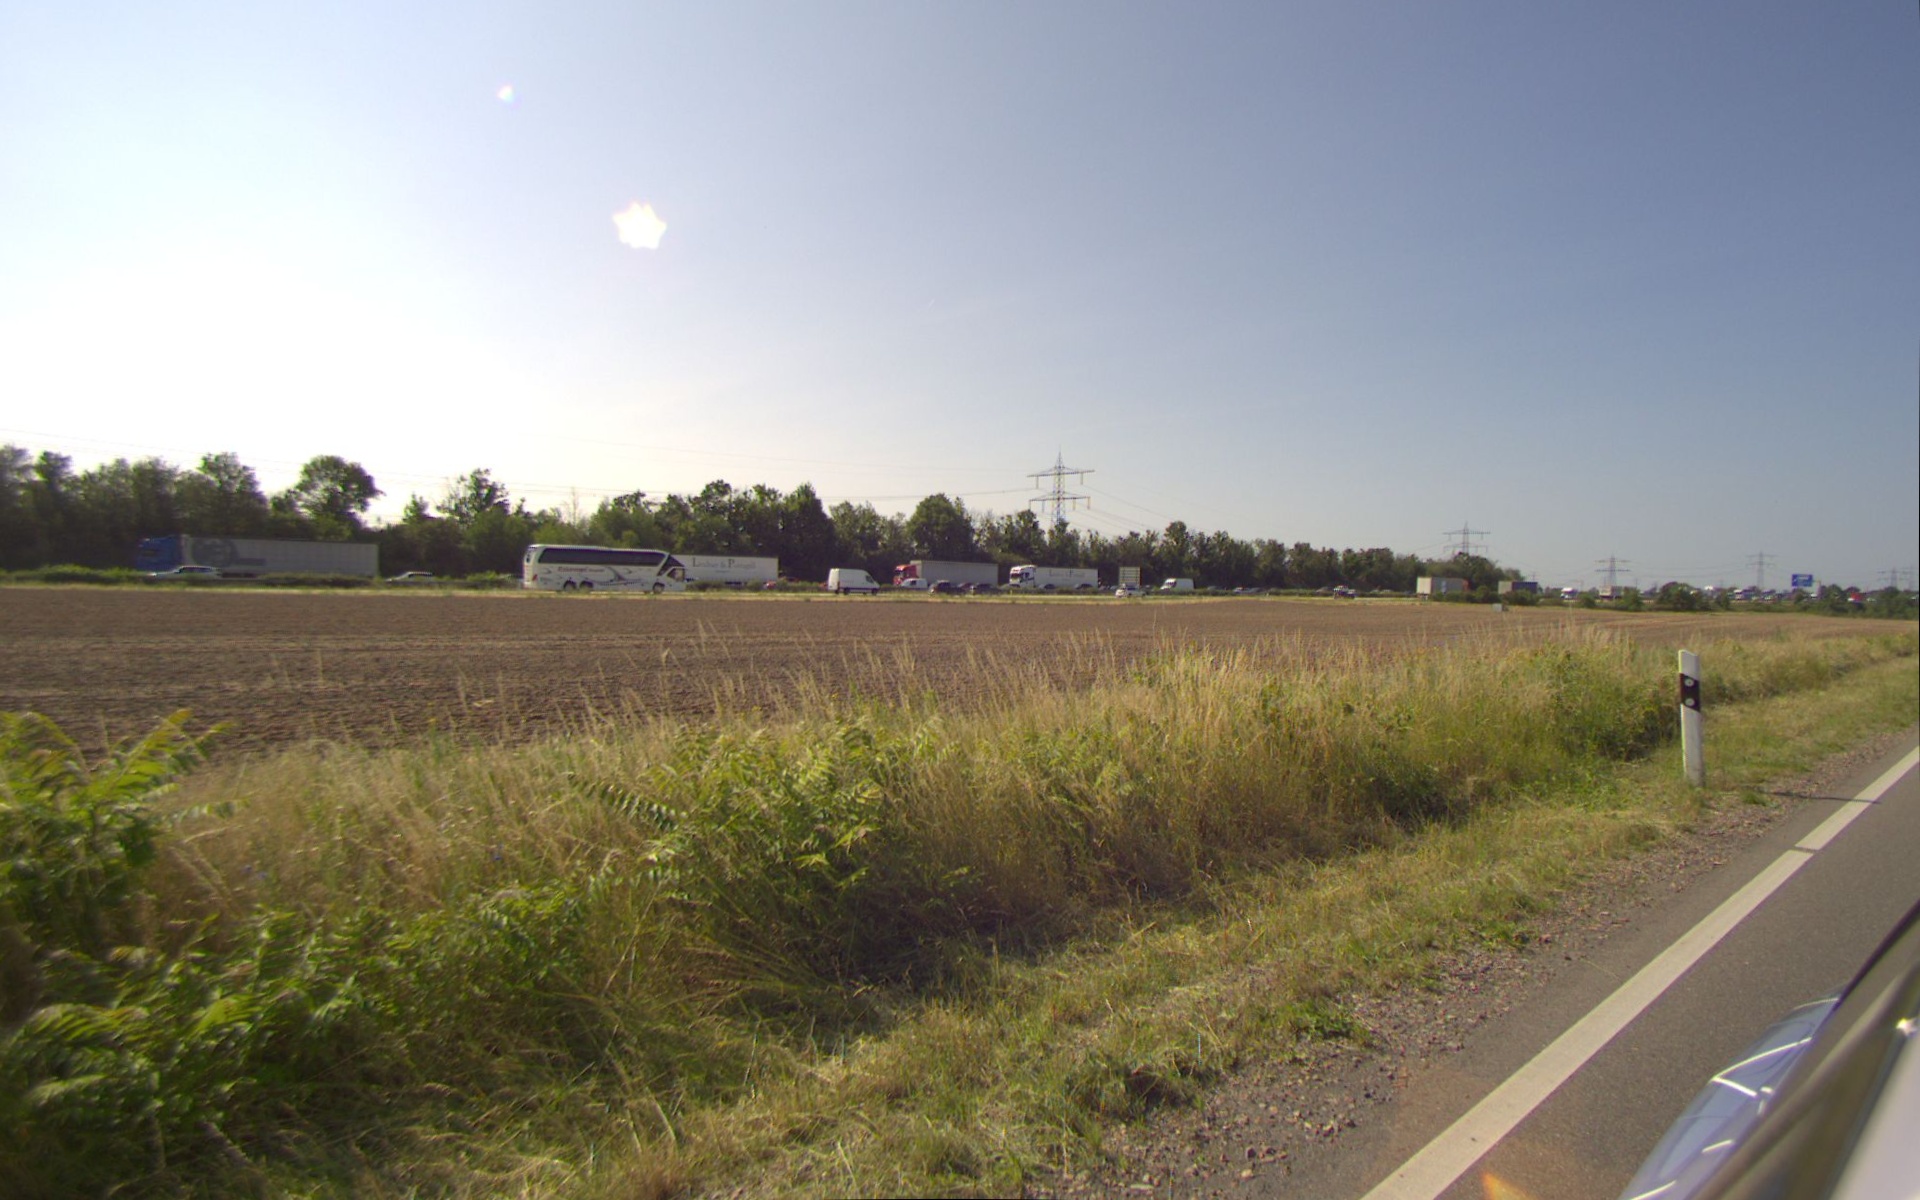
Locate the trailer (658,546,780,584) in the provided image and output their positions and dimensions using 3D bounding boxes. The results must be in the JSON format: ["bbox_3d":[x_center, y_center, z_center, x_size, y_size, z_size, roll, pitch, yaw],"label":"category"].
[{"bbox_3d":[-26.264,-3.710,111.029,13.128,3.780,3.078,0,1,-40],"label":"trailer"}]

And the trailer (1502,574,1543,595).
[{"bbox_3d":[116.701,-3.116,209.857,14.341,3.851,3.076,1,0,-43],"label":"trailer"}]

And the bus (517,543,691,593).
[{"bbox_3d":[-30.281,-2.617,87.073,14.301,3.851,2.466,1,1,-43],"label":"bus"}]

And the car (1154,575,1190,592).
[{"bbox_3d":[32.850,-2.571,156.417,6.300,2.478,2.041,0,0,-40],"label":"car"}]

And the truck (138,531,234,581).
[{"bbox_3d":[-61.578,-3.429,80.582,5.978,3.780,3.078,0,1,-40],"label":"truck"}]

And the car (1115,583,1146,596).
[{"bbox_3d":[21.701,-1.307,128.852,4.124,1.562,1.705,-1,0,-41],"label":"car"}]

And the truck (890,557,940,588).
[{"bbox_3d":[-5.757,-3.470,129.393,5.767,3.780,2.951,0,1,-41],"label":"truck"}]

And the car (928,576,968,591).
[{"bbox_3d":[-1.263,-1.753,108.345,4.135,1.492,1.706,0,0,-40],"label":"car"}]

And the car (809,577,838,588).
[{"bbox_3d":[-16.241,-2.108,120.501,3.235,1.234,1.342,0,0,-42],"label":"car"}]

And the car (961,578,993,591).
[{"bbox_3d":[2.176,-1.946,127.894,4.022,1.528,1.705,0,0,-41],"label":"car"}]

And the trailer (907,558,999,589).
[{"bbox_3d":[-0.745,-3.403,133.799,13.541,3.780,2.950,0,1,-41],"label":"trailer"}]

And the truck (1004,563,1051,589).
[{"bbox_3d":[9.498,-3.360,142.473,6.003,3.575,3.208,0,2,-41],"label":"truck"}]

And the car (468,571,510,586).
[{"bbox_3d":[-41.522,-1.880,89.187,3.126,1.166,1.397,1,-1,-41],"label":"car"}]

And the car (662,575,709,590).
[{"bbox_3d":[-27.826,-1.790,102.726,4.173,1.403,1.853,1,-1,-41],"label":"car"}]

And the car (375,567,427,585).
[{"bbox_3d":[-46.794,-1.989,84.775,3.540,1.403,1.494,1,-1,-41],"label":"car"}]

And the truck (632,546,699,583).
[{"bbox_3d":[-31.079,-3.713,106.951,6.009,3.780,3.078,0,1,-40],"label":"truck"}]

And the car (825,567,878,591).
[{"bbox_3d":[-11.321,-2.136,106.032,5.425,2.402,1.997,0,-1,-41],"label":"car"}]

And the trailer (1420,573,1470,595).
[{"bbox_3d":[89.878,-2.880,187.492,13.476,3.897,3.109,0,0,-40],"label":"trailer"}]

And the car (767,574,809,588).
[{"bbox_3d":[-18.680,-2.062,109.786,4.173,1.403,1.853,1,-1,-41],"label":"car"}]

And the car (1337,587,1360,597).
[{"bbox_3d":[63.263,-1.278,164.842,4.124,1.562,1.705,-1,0,-41],"label":"car"}]

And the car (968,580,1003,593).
[{"bbox_3d":[3.003,-1.552,118.052,4.021,1.391,1.706,0,0,-40],"label":"car"}]

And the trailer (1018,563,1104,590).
[{"bbox_3d":[14.879,-3.345,147.233,14.821,3.575,3.208,0,2,-42],"label":"trailer"}]

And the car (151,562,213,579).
[{"bbox_3d":[-57.390,-2.155,74.683,3.518,1.166,1.397,1,-1,-41],"label":"car"}]

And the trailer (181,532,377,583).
[{"bbox_3d":[-56.676,-3.430,84.683,13.386,3.780,3.078,0,1,-40],"label":"trailer"}]

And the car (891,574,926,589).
[{"bbox_3d":[-6.165,-2.187,120.715,4.023,1.659,1.705,0,0,-42],"label":"car"}]
